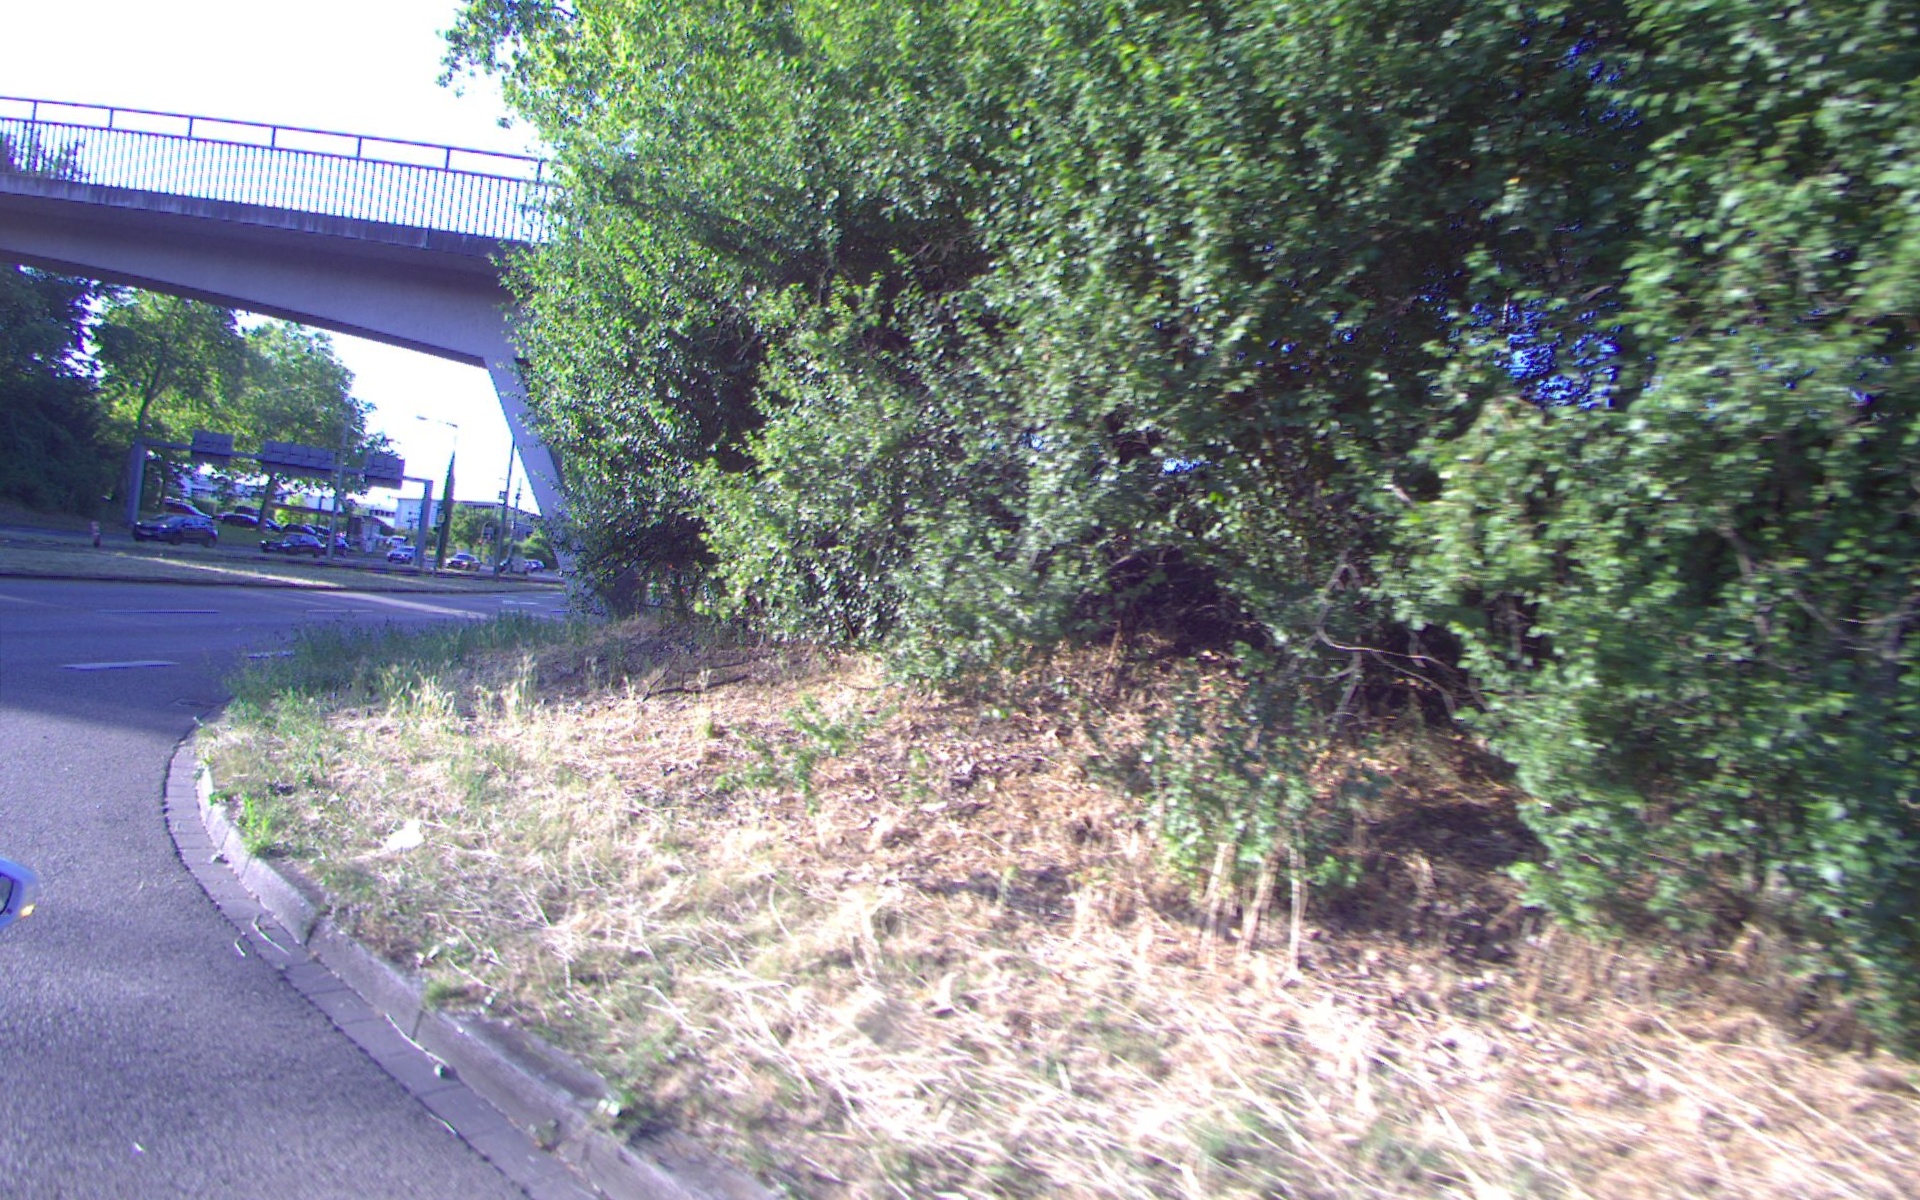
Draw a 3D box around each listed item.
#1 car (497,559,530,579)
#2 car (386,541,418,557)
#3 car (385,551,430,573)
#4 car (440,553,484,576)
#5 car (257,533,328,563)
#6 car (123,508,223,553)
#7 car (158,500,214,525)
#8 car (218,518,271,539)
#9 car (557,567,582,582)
[{"bbox_3d":[-45.911,-3.159,103.572,1.814,1.674,4.430,9,-1,-9],"label":"car"},{"bbox_3d":[-69.958,-6.369,126.076,1.815,1.458,3.999,9,-1,-4],"label":"car"},{"bbox_3d":[-47.393,-3.224,86.328,1.663,1.432,4.435,8,-2,-7],"label":"car"},{"bbox_3d":[-41.205,-2.915,83.308,1.812,1.432,4.017,8,-2,-5],"label":"car"},{"bbox_3d":[-41.598,-3.204,62.779,1.662,1.325,4.308,8,-2,-4],"label":"car"},{"bbox_3d":[-39.935,-3.497,51.177,1.765,1.670,4.355,8,-2,-5],"label":"car"},{"bbox_3d":[-80.474,-9.066,104.645,3.929,1.882,1.999,8,-1,-4],"label":"car"},{"bbox_3d":[-74.840,-7.451,105.249,3.998,1.403,1.783,9,-1,-6],"label":"car"},{"bbox_3d":[-48.927,-3.195,126.179,1.813,1.432,4.594,7,-1,-8],"label":"car"}]
